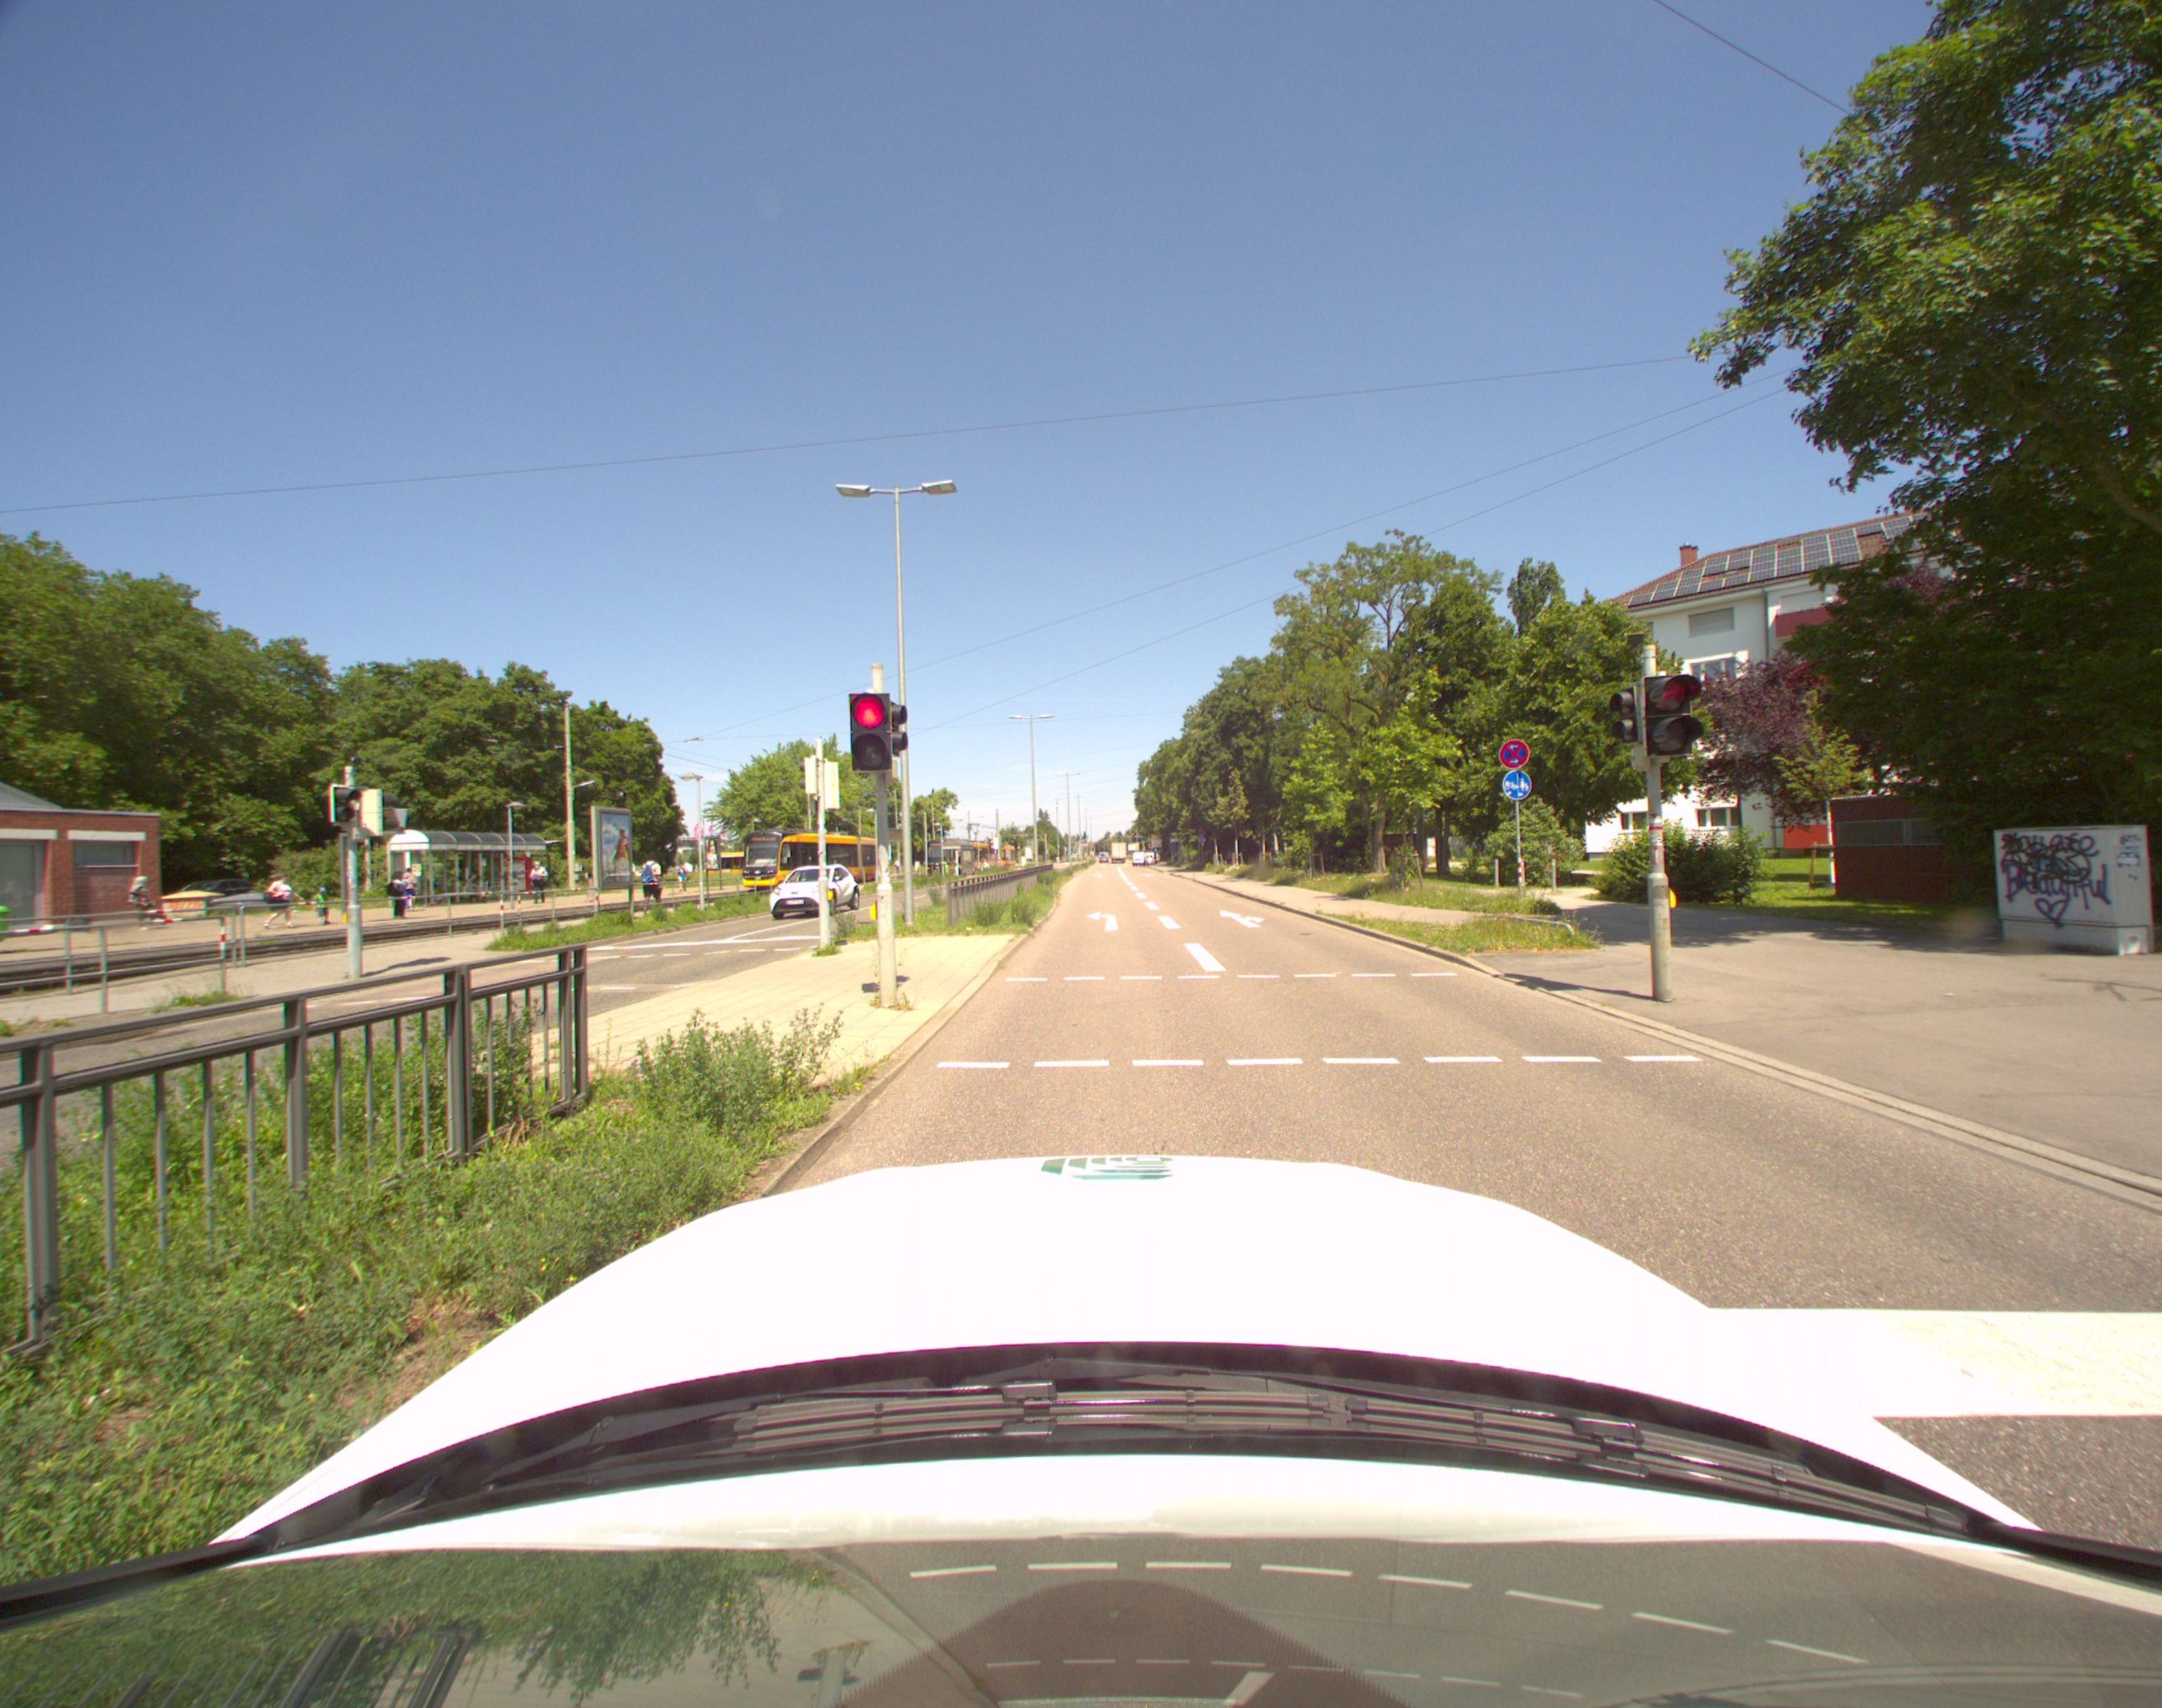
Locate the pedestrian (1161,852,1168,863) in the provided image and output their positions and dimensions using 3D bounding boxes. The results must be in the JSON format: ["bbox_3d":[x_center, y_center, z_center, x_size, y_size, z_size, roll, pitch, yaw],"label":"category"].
[{"bbox_3d":[16.704,0.677,163.174,1.180,2.013,1.214,-2,0,1],"label":"pedestrian"}]

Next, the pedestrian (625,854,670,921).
[{"bbox_3d":[-12.072,0.921,22.694,0.715,1.777,0.843,3,2,1],"label":"pedestrian"}]

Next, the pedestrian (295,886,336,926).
[{"bbox_3d":[-22.315,1.513,23.739,0.636,1.124,0.570,-2,0,1],"label":"pedestrian"}]

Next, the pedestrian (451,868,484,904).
[{"bbox_3d":[-26.286,1.371,34.891,0.836,1.511,0.723,-2,0,12],"label":"pedestrian"}]

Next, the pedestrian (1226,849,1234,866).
[{"bbox_3d":[12.608,0.271,69.049,0.600,1.438,0.557,-2,0,8],"label":"pedestrian"}]

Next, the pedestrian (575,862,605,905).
[{"bbox_3d":[-21.218,1.250,35.179,0.715,1.777,0.843,3,2,1],"label":"pedestrian"}]

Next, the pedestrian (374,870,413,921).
[{"bbox_3d":[-21.601,1.284,25.595,0.635,1.555,0.691,-2,0,-11],"label":"pedestrian"}]

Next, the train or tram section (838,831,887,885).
[{"bbox_3d":[-18.592,0.353,70.472,3.219,3.931,18.419,-2,0,-13],"label":"train or tram section"}]

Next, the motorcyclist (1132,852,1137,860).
[{"bbox_3d":[13.306,0.526,202.927,0.924,1.835,0.847,-2,0,-10],"label":"motorcyclist"}]

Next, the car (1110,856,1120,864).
[{"bbox_3d":[6.473,1.146,153.686,1.804,1.464,4.002,-2,0,2],"label":"car"}]

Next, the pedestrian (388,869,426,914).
[{"bbox_3d":[-24.600,1.347,29.720,0.669,1.590,0.808,-2,0,1],"label":"pedestrian"}]

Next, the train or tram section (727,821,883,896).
[{"bbox_3d":[-17.020,0.231,52.841,3.203,3.931,18.508,-2,0,2],"label":"train or tram section"}]

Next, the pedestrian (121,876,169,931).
[{"bbox_3d":[-25.909,1.365,22.547,0.636,1.480,0.570,-2,0,1],"label":"pedestrian"}]

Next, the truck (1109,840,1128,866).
[{"bbox_3d":[6.759,-0.167,146.134,3.193,4.359,6.563,-2,0,2],"label":"truck"}]

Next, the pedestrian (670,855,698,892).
[{"bbox_3d":[-21.944,1.061,45.014,0.977,2.013,1.021,-2,0,1],"label":"pedestrian"}]

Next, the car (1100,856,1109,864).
[{"bbox_3d":[4.545,1.173,158.003,1.804,1.464,4.002,-2,0,2],"label":"car"}]

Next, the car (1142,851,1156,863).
[{"bbox_3d":[9.897,0.462,118.759,1.773,1.668,4.002,-2,0,2],"label":"car"}]

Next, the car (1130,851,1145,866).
[{"bbox_3d":[7.288,0.563,105.537,1.773,1.903,4.002,-2,0,2],"label":"car"}]

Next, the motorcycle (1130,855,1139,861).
[{"bbox_3d":[13.327,1.056,202.900,2.183,1.406,0.845,-2,0,-10],"label":"motorcycle"}]

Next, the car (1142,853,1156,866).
[{"bbox_3d":[9.376,0.720,112.419,1.773,1.668,4.002,-2,0,2],"label":"car"}]

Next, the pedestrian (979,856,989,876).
[{"bbox_3d":[-10.138,1.252,85.362,0.812,2.013,0.939,-2,0,1],"label":"pedestrian"}]

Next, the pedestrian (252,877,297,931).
[{"bbox_3d":[-22.490,1.393,22.729,0.636,1.456,0.583,-2,0,1],"label":"pedestrian"}]

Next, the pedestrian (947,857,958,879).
[{"bbox_3d":[-10.985,1.201,69.725,0.783,1.868,0.818,-2,0,1],"label":"pedestrian"}]

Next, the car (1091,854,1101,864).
[{"bbox_3d":[3.311,1.098,175.329,1.986,2.013,4.002,-2,0,2],"label":"car"}]

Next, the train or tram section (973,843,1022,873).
[{"bbox_3d":[-11.874,0.459,121.036,2.920,3.789,33.097,-2,0,2],"label":"train or tram section"}]

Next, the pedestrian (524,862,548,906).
[{"bbox_3d":[-23.221,1.264,34.714,0.725,1.800,0.835,-1,-1,-41],"label":"pedestrian"}]

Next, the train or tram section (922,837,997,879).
[{"bbox_3d":[-12.668,0.416,89.411,2.947,3.749,30.040,-2,0,1],"label":"train or tram section"}]

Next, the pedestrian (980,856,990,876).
[{"bbox_3d":[-9.917,1.240,84.062,0.812,2.013,0.939,-2,0,1],"label":"pedestrian"}]

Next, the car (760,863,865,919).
[{"bbox_3d":[-8.114,1.081,24.997,1.838,1.494,3.793,-2,0,2],"label":"car"}]
